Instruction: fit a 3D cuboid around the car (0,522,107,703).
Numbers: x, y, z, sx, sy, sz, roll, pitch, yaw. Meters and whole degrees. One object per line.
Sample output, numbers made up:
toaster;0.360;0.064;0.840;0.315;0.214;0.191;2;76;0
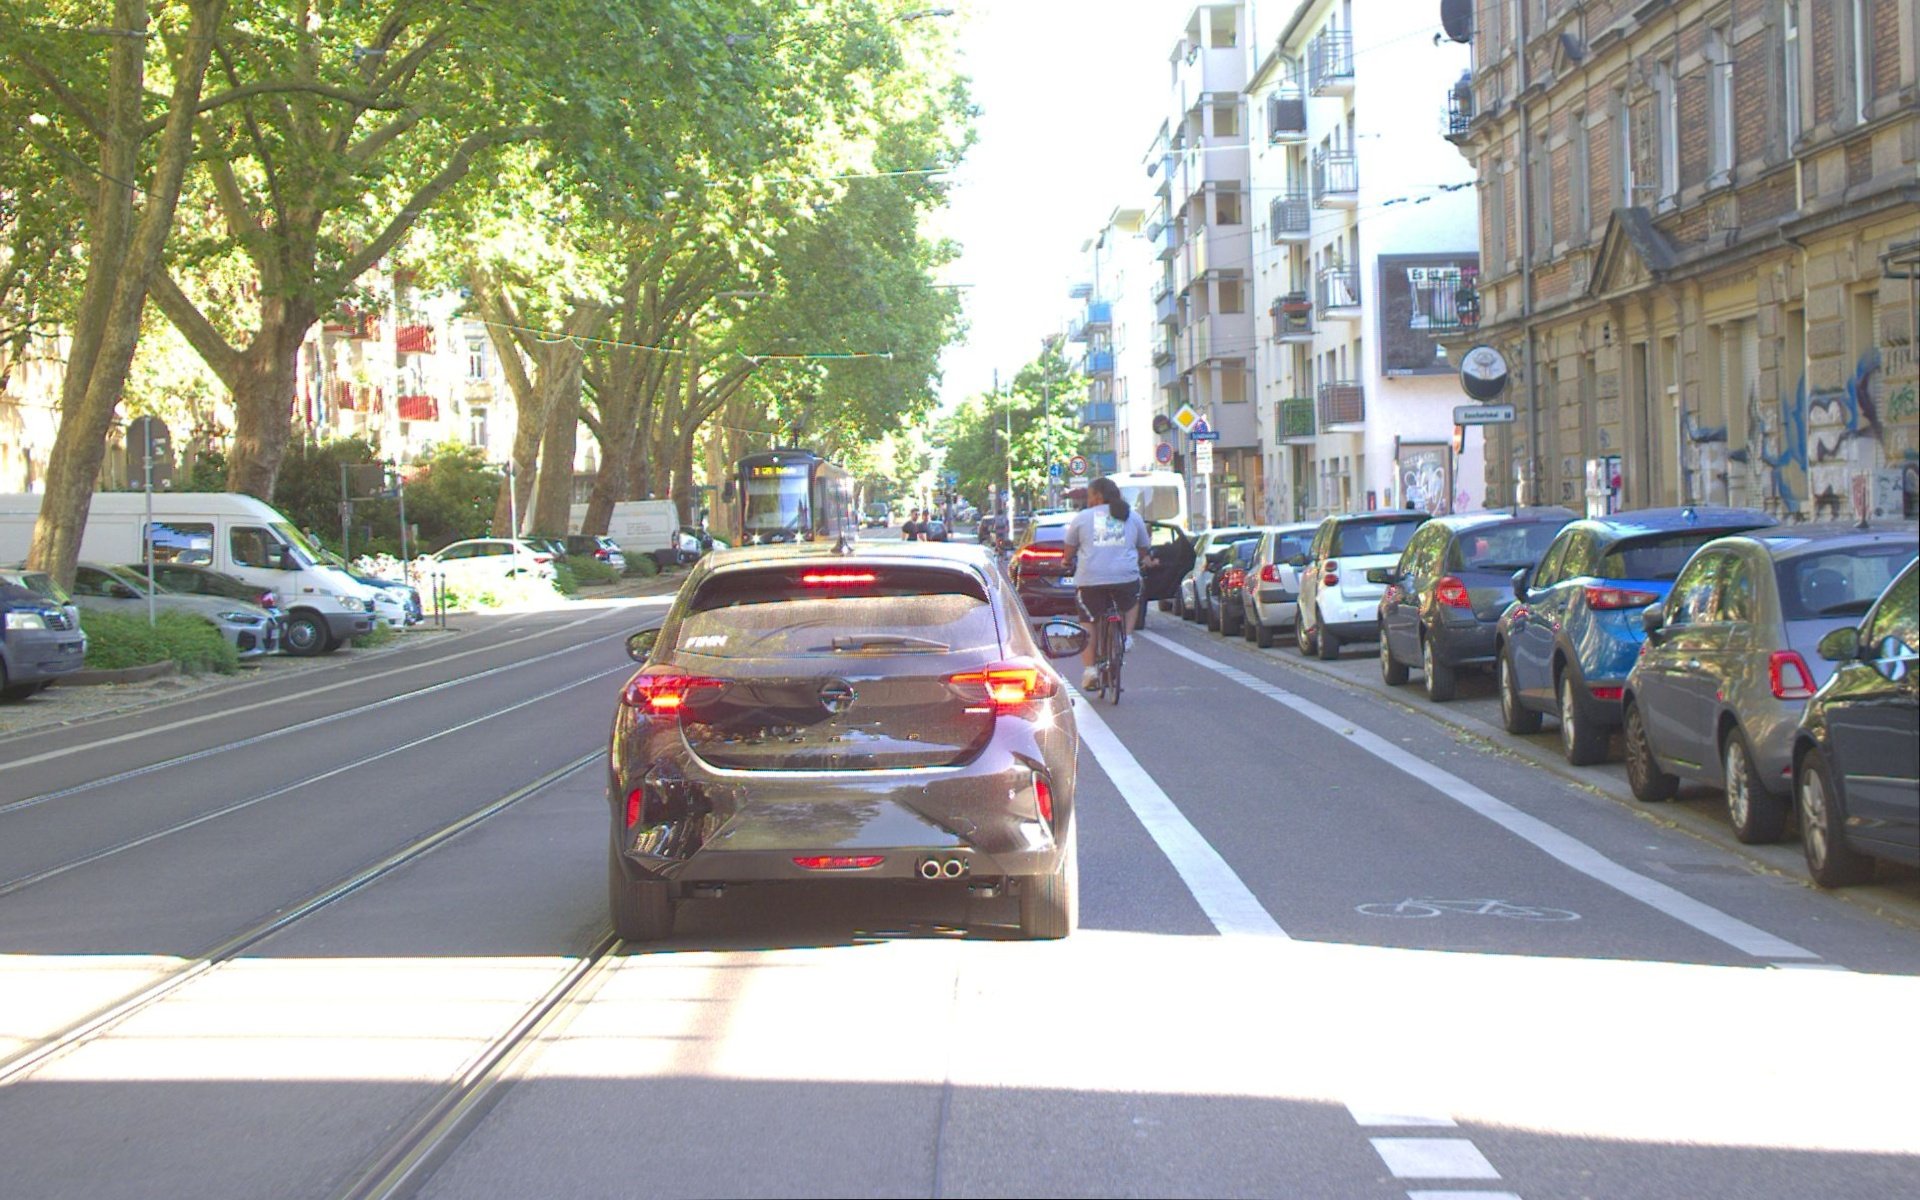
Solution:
car;-11.863;0.103;37.377;4.675;1.917;1.980;0;1;1

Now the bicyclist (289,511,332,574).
bicyclist;-18.209;-1.620;96.385;0.987;1.750;1.154;-1;1;-2

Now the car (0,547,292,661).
car;-11.232;0.040;46.805;3.920;1.493;1.677;0;1;1

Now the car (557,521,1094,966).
car;-0.469;0.444;13.387;1.794;1.436;3.532;-1;2;0

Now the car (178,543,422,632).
car;-11.312;-0.229;59.106;3.919;1.493;1.677;0;1;-3

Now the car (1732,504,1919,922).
car;4.584;0.382;13.545;1.880;1.580;3.933;-5;1;-3

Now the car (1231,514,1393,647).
car;4.326;-0.274;42.654;1.705;1.451;3.697;-5;1;3

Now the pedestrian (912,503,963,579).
pedestrian;-0.465;-1.218;70.743;0.680;1.561;0.767;0;1;42

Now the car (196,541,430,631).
car;-11.557;-0.267;61.573;3.919;1.572;1.677;0;1;-3

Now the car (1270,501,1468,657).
car;4.430;-0.246;37.599;1.567;1.512;3.041;-5;1;-2

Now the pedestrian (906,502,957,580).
pedestrian;-0.584;-1.198;69.929;0.680;1.561;0.767;0;1;42

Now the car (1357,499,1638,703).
car;4.461;-0.034;29.006;1.710;1.478;3.764;-5;1;1

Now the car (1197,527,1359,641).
car;4.297;-0.251;46.987;1.810;1.333;3.933;-5;1;1

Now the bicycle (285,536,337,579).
bicycle;-18.184;-1.190;96.411;0.987;1.165;2.953;-1;1;-2

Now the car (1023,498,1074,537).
car;3.344;-3.131;130.730;1.810;1.333;3.933;-5;1;1

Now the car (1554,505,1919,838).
car;4.439;0.289;18.088;1.798;1.451;3.768;-5;1;-1

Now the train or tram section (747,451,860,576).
train or tram section;-4.914;-2.751;110.283;2.735;3.669;12.717;-2;1;1

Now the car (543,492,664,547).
car;-11.792;-2.659;113.917;3.919;1.784;1.677;0;1;-3

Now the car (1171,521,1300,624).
car;4.266;-0.456;53.711;1.662;1.414;3.933;-5;1;1

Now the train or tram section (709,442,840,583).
train or tram section;-5.138;-2.462;97.656;2.735;3.669;12.717;-2;1;1

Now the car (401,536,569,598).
car;-11.515;-0.810;83.532;3.919;1.493;1.677;0;1;-3

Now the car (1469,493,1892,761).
car;4.597;0.119;22.525;1.880;1.451;4.026;-5;1;1

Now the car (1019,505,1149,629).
car;1.811;-0.515;51.258;1.810;1.736;3.933;-1;1;1

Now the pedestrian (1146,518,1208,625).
pedestrian;3.230;-0.431;51.246;0.866;1.561;0.768;-1;1;2

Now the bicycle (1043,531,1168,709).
bicycle;1.192;0.134;28.742;0.860;1.402;2.524;-1;1;-1

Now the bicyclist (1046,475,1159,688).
bicyclist;1.185;-0.166;28.733;0.848;1.734;1.162;-1;1;-1

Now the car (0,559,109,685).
car;-11.986;0.232;40.086;3.734;1.425;1.637;0;1;0

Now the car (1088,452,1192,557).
car;4.157;-2.215;80.222;2.075;2.211;4.933;-5;1;1

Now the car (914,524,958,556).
car;-1.048;-2.583;147.725;1.809;1.333;3.933;-1;1;-1

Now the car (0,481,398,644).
car;-12.099;-0.584;52.469;6.628;2.401;2.458;0;1;0

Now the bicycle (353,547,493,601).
bicycle;-12.028;-0.575;77.032;2.945;1.165;0.989;0;1;17

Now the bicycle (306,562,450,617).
bicycle;-12.674;-0.227;74.920;2.945;1.165;0.989;0;1;17

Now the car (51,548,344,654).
car;-11.047;0.005;49.976;3.919;1.493;1.677;0;1;-3

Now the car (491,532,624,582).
car;-12.215;-1.305;104.553;3.919;1.493;1.677;0;1;-3
